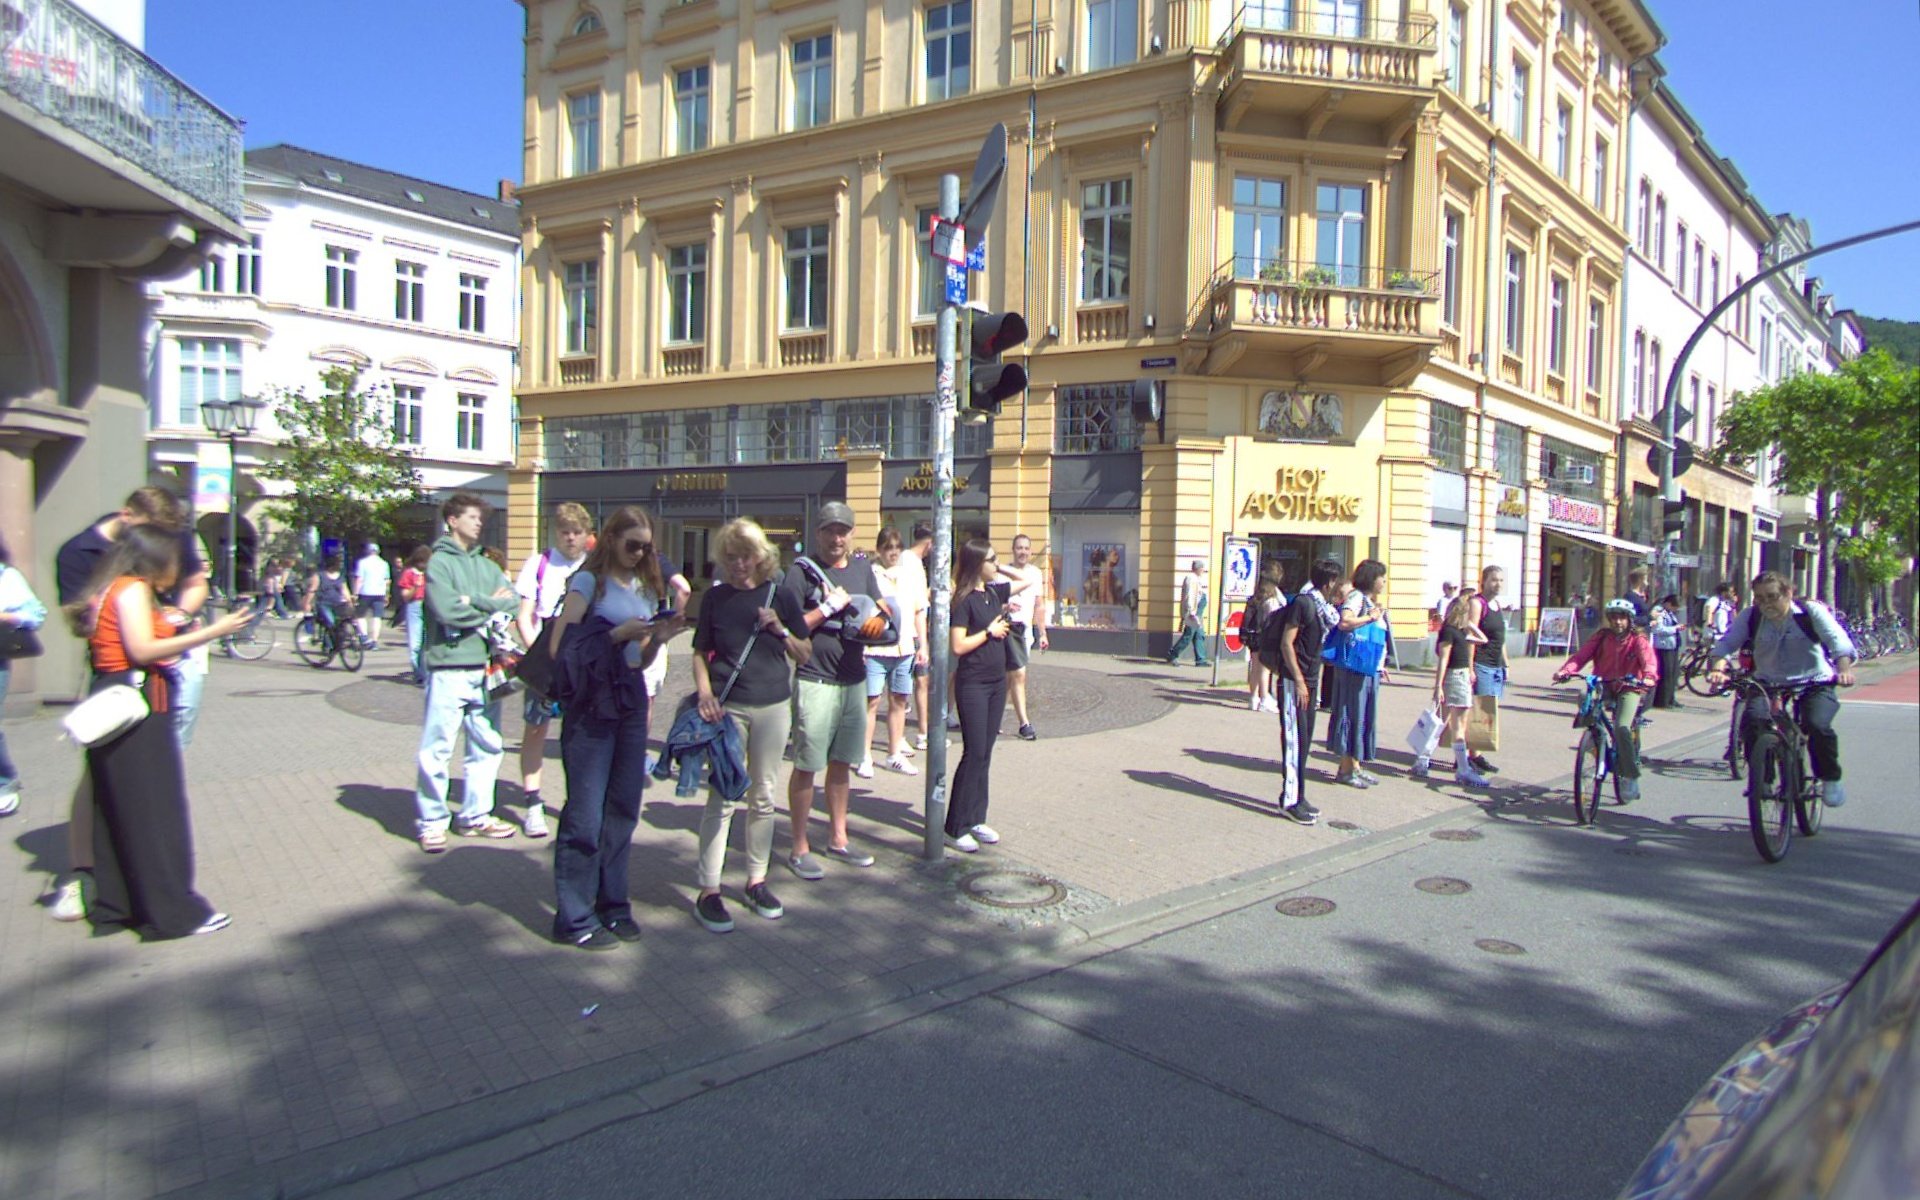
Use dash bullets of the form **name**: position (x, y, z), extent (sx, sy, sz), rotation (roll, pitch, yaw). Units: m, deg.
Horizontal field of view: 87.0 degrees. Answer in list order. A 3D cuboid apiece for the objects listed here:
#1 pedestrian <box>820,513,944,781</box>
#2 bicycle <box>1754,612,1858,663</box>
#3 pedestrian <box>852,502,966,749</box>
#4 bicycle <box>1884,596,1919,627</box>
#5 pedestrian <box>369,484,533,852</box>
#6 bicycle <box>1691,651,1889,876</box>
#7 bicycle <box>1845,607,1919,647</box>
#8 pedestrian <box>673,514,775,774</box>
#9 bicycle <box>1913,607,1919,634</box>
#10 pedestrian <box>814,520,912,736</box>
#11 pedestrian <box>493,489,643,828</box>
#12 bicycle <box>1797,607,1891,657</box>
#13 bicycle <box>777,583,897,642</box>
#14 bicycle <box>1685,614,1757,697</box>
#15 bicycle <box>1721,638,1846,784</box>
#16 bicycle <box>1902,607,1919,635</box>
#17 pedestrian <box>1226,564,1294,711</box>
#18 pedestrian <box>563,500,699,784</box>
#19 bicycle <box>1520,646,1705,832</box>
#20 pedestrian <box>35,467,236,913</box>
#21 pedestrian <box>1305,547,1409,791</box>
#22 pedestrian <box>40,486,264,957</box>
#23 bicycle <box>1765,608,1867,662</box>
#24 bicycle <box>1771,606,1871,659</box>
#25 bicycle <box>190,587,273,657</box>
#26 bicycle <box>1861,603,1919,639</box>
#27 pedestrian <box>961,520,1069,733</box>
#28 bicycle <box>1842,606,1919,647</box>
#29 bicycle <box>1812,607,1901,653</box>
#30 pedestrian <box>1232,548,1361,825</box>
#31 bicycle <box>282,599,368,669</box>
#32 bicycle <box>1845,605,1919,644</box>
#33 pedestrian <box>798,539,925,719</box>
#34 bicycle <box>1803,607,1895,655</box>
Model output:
- **pedestrian**: position (-0.566, 0.317, 7.348), extent (0.686, 1.825, 0.577), rotation (0, -1, -45)
- **bicycle**: position (19.096, 0.837, 22.873), extent (0.583, 1.048, 1.754), rotation (0, 1, -43)
- **pedestrian**: position (-0.414, 0.192, 8.162), extent (0.612, 1.882, 0.685), rotation (0, -1, -45)
- **bicycle**: position (36.271, 0.442, 38.389), extent (0.583, 1.161, 1.754), rotation (0, 1, -43)
- **pedestrian**: position (-2.632, 0.321, 5.235), extent (0.612, 1.746, 0.577), rotation (0, -1, -45)
- **bicycle**: position (5.257, 0.926, 6.362), extent (1.866, 1.107, 0.734), rotation (0, 0, -44)
- **bicycle**: position (28.675, 0.820, 31.428), extent (0.583, 1.161, 1.754), rotation (0, 1, -43)
- **pedestrian**: position (-1.732, 0.310, 7.486), extent (0.610, 1.840, 0.632), rotation (0, -1, 0)
- **bicycle**: position (42.781, 0.918, 44.119), extent (0.583, 1.161, 1.754), rotation (0, 1, -43)
- **pedestrian**: position (-0.884, 0.240, 9.217), extent (0.611, 1.869, 0.664), rotation (0, -1, -41)
- **pedestrian**: position (-2.201, 0.302, 5.680), extent (0.612, 1.762, 0.577), rotation (0, -1, -45)
- **bicycle**: position (22.503, 0.797, 25.793), extent (0.583, 1.161, 1.754), rotation (0, 1, -43)
- **bicycle**: position (-2.514, 0.254, 20.634), extent (2.393, 1.166, 0.775), rotation (0, 0, 25)
- **bicycle**: position (11.937, 0.836, 15.924), extent (0.732, 1.106, 1.875), rotation (5, 4, 34)
- **bicycle**: position (7.407, 0.931, 9.071), extent (1.867, 1.107, 0.666), rotation (0, 0, -45)
- **bicycle**: position (40.781, 0.894, 42.490), extent (0.583, 1.161, 1.754), rotation (0, 1, -43)
- **pedestrian**: position (3.441, 0.408, 11.611), extent (0.525, 1.623, 0.513), rotation (0, 1, -41)
- **pedestrian**: position (-2.268, 0.268, 6.973), extent (0.687, 1.827, 0.649), rotation (0, -1, -43)
- **bicycle**: position (4.752, 0.925, 7.318), extent (1.789, 1.107, 0.734), rotation (1, -1, -44)
- **pedestrian**: position (-3.502, 0.342, 4.300), extent (0.612, 1.706, 0.577), rotation (0, -1, -45)
- **pedestrian**: position (3.081, 0.496, 7.837), extent (0.599, 1.756, 0.643), rotation (5, 3, 25)
- **pedestrian**: position (-3.089, 0.412, 3.872), extent (0.612, 1.604, 0.577), rotation (0, -1, -45)
- **bicycle**: position (19.940, 0.793, 23.594), extent (0.583, 1.161, 1.754), rotation (0, 1, -43)
- **bicycle**: position (20.557, 0.759, 24.187), extent (0.583, 1.161, 1.754), rotation (0, 1, -43)
- **bicycle**: position (-10.945, 0.320, 15.175), extent (1.996, 0.988, 0.493), rotation (-1, -1, 39)
- **bicycle**: position (31.252, 0.690, 33.743), extent (0.583, 1.161, 1.754), rotation (0, 1, -43)
- **pedestrian**: position (0.492, 0.230, 9.312), extent (0.837, 1.869, 0.624), rotation (0, -1, -13)
- **bicycle**: position (27.908, 0.798, 30.643), extent (0.583, 1.161, 1.754), rotation (0, 1, -43)
- **bicycle**: position (24.121, 0.793, 27.257), extent (0.583, 1.161, 1.754), rotation (0, 1, -43)
- **pedestrian**: position (2.277, 0.544, 6.819), extent (0.573, 1.704, 0.721), rotation (7, 3, 25)
- **bicycle**: position (-8.605, 0.439, 13.687), extent (1.802, 0.895, 0.411), rotation (-1, -1, 39)
- **bicycle**: position (29.268, 0.752, 32.106), extent (0.583, 1.161, 1.754), rotation (0, 1, -43)
- **pedestrian**: position (-1.031, 0.286, 10.634), extent (1.163, 1.780, 0.622), rotation (0, -1, -34)
- **bicycle**: position (23.056, 0.786, 26.268), extent (0.583, 1.161, 1.754), rotation (0, 1, -43)
